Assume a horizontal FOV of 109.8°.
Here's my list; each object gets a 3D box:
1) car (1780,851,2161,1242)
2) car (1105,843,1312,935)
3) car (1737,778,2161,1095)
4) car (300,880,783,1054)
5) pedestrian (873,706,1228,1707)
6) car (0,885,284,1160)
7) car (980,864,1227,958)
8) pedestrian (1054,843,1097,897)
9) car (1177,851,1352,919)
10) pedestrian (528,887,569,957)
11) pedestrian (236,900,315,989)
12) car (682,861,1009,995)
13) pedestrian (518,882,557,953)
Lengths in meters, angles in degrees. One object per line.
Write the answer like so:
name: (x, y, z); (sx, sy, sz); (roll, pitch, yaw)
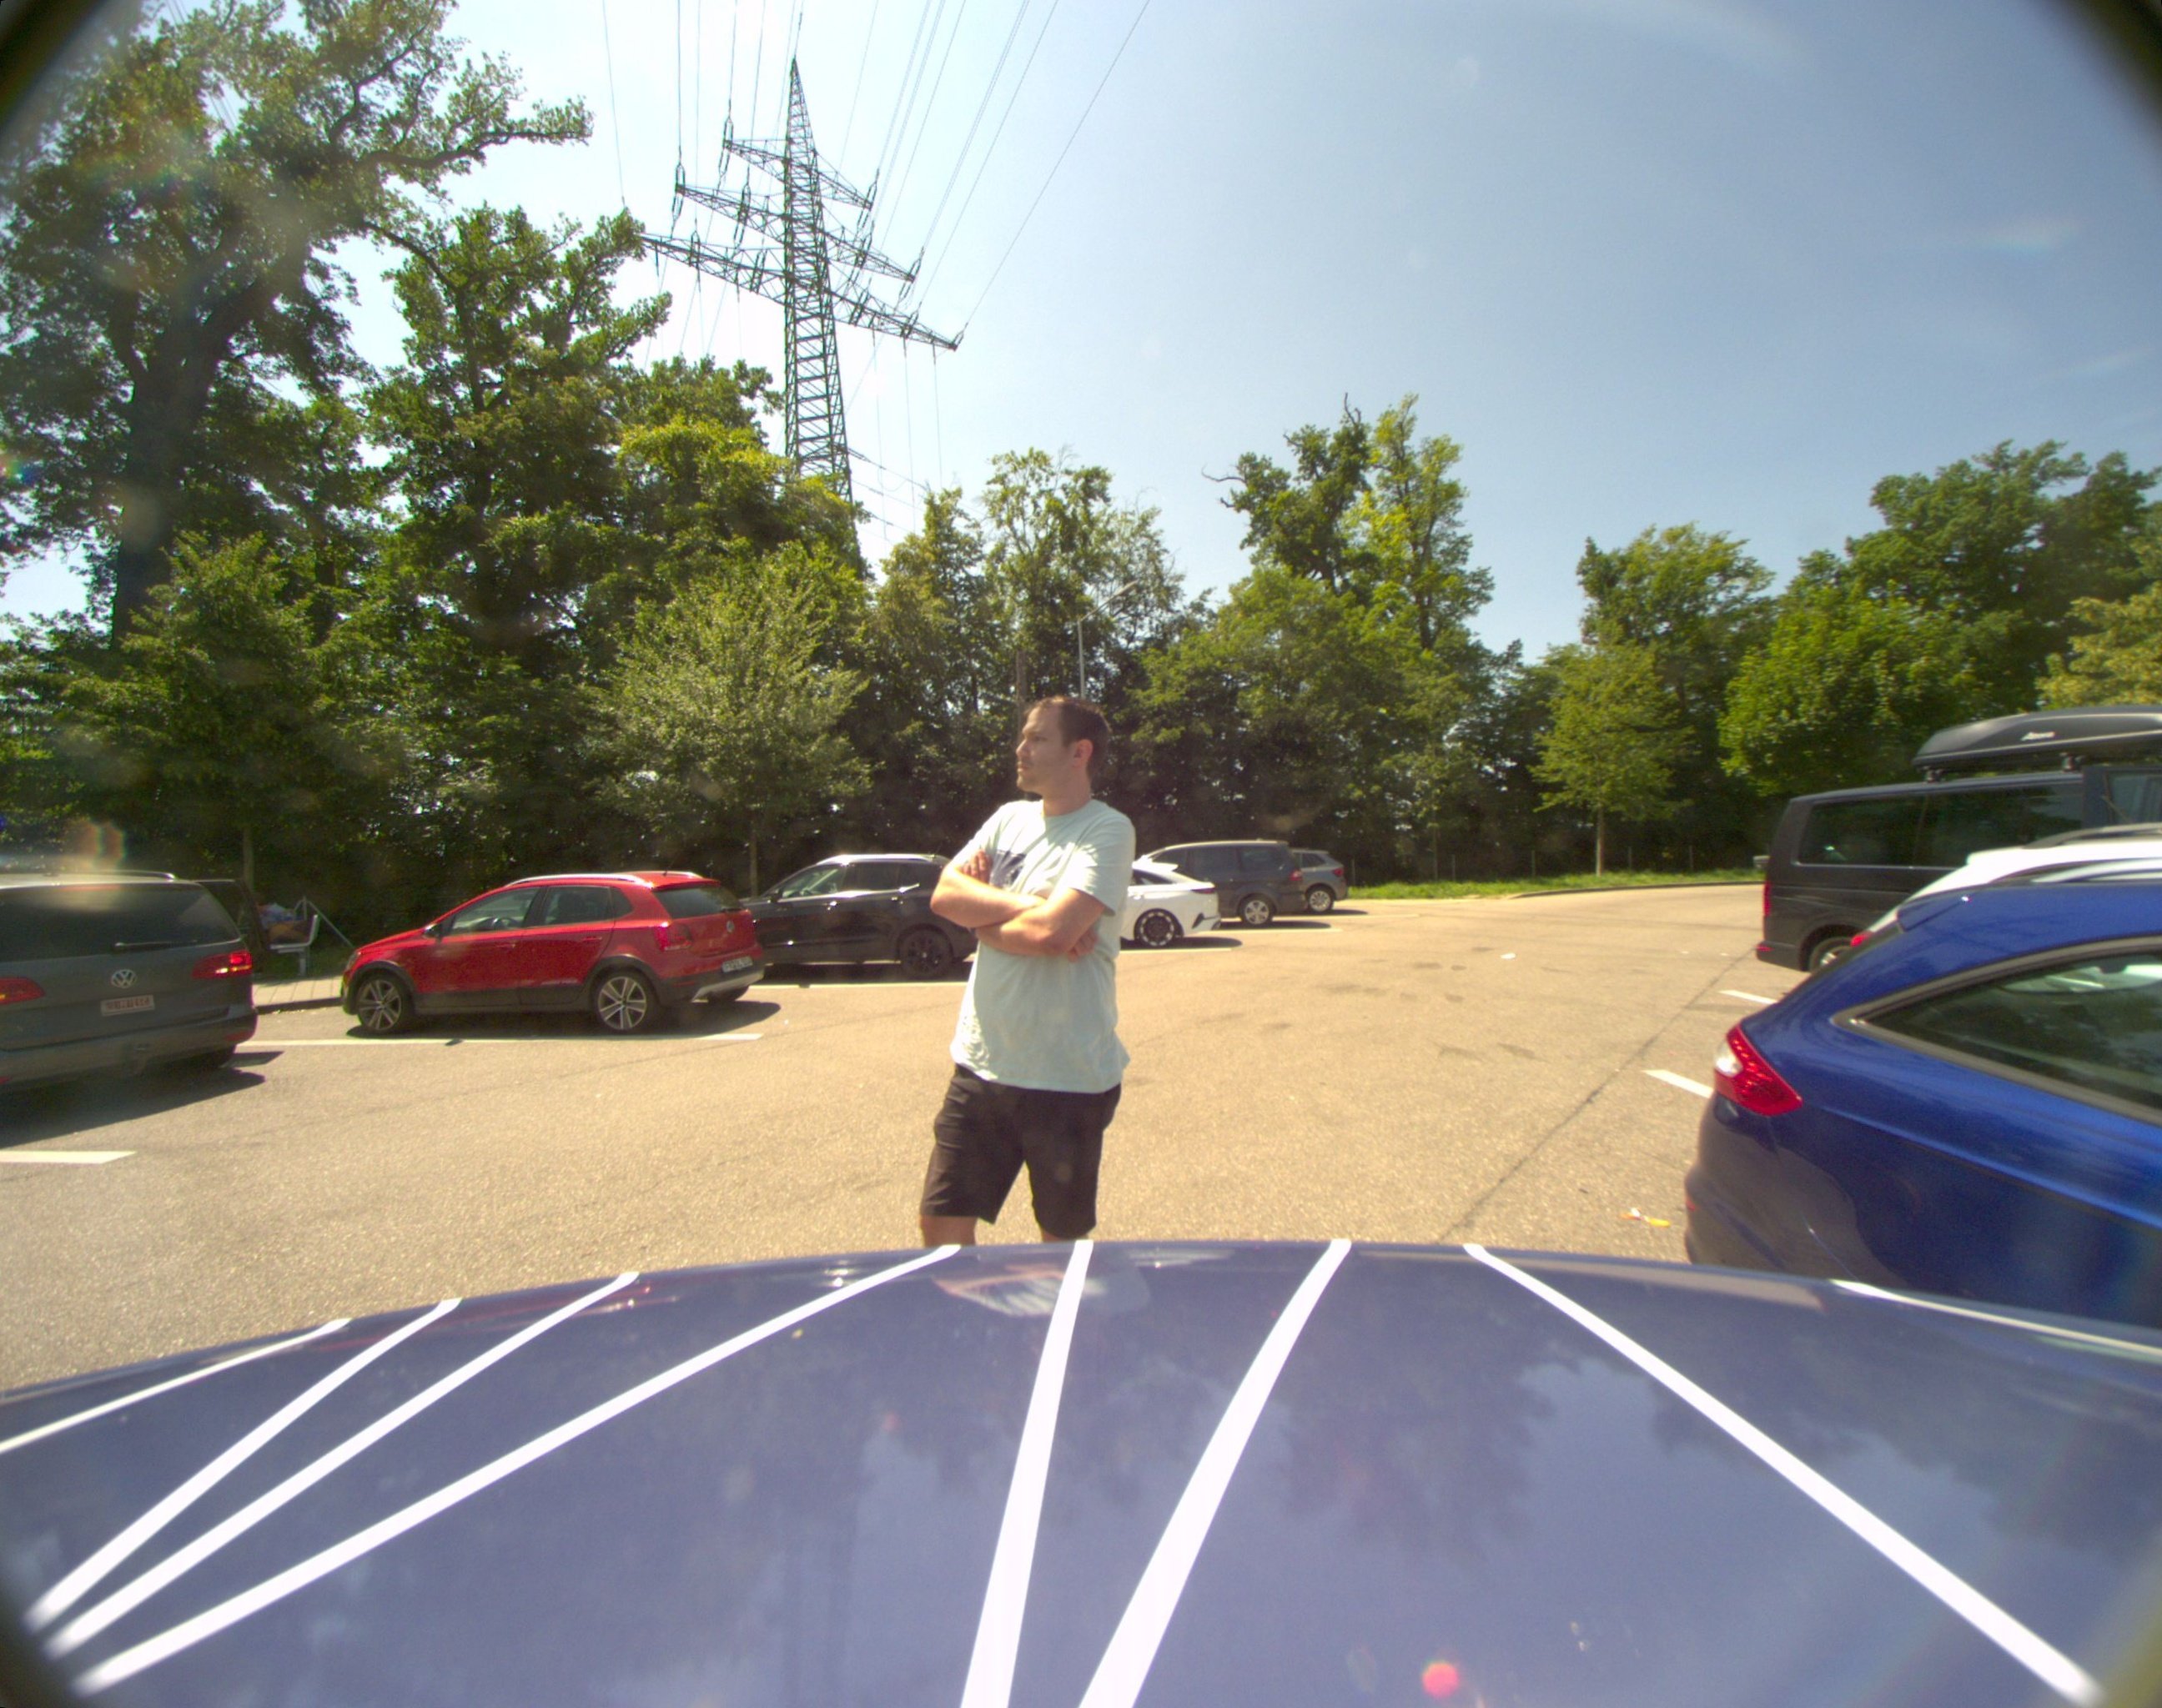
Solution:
car: (4.777, 0.700, 2.413); (1.607, 1.405, 3.743); (-2, -1, -1)
car: (2.507, 0.677, 15.476); (3.882, 1.680, 1.882); (-1, 0, 5)
car: (7.304, 0.456, 5.009); (2.048, 1.850, 4.430); (-2, -1, -1)
car: (-5.244, 1.057, 7.649); (3.804, 1.449, 1.637); (-1, 1, 7)
pedestrian: (-0.137, 0.654, 1.848); (0.634, 1.857, 0.747); (-2, 0, -17)
car: (-8.345, 1.086, 5.434); (3.950, 1.581, 1.753); (-1, 1, 11)
car: (0.405, 0.903, 12.726); (3.805, 1.359, 1.803); (-1, 1, 5)
pedestrian: (-0.127, 0.397, 19.024); (0.890, 1.292, 0.865); (-2, 0, 11)
car: (4.256, 0.705, 18.120); (3.805, 1.468, 1.743); (-1, 1, 5)
pedestrian: (-10.171, 1.288, 14.520); (0.490, 1.291, 0.506); (-2, 0, 41)
pedestrian: (-11.739, 1.303, 11.080); (0.680, 1.211, 0.675); (-4, -2, 36)
car: (-3.010, 0.932, 10.277); (3.806, 1.538, 1.759); (-1, 1, 2)
pedestrian: (-10.956, 1.271, 15.326); (0.490, 1.367, 0.506); (-2, 0, 41)
